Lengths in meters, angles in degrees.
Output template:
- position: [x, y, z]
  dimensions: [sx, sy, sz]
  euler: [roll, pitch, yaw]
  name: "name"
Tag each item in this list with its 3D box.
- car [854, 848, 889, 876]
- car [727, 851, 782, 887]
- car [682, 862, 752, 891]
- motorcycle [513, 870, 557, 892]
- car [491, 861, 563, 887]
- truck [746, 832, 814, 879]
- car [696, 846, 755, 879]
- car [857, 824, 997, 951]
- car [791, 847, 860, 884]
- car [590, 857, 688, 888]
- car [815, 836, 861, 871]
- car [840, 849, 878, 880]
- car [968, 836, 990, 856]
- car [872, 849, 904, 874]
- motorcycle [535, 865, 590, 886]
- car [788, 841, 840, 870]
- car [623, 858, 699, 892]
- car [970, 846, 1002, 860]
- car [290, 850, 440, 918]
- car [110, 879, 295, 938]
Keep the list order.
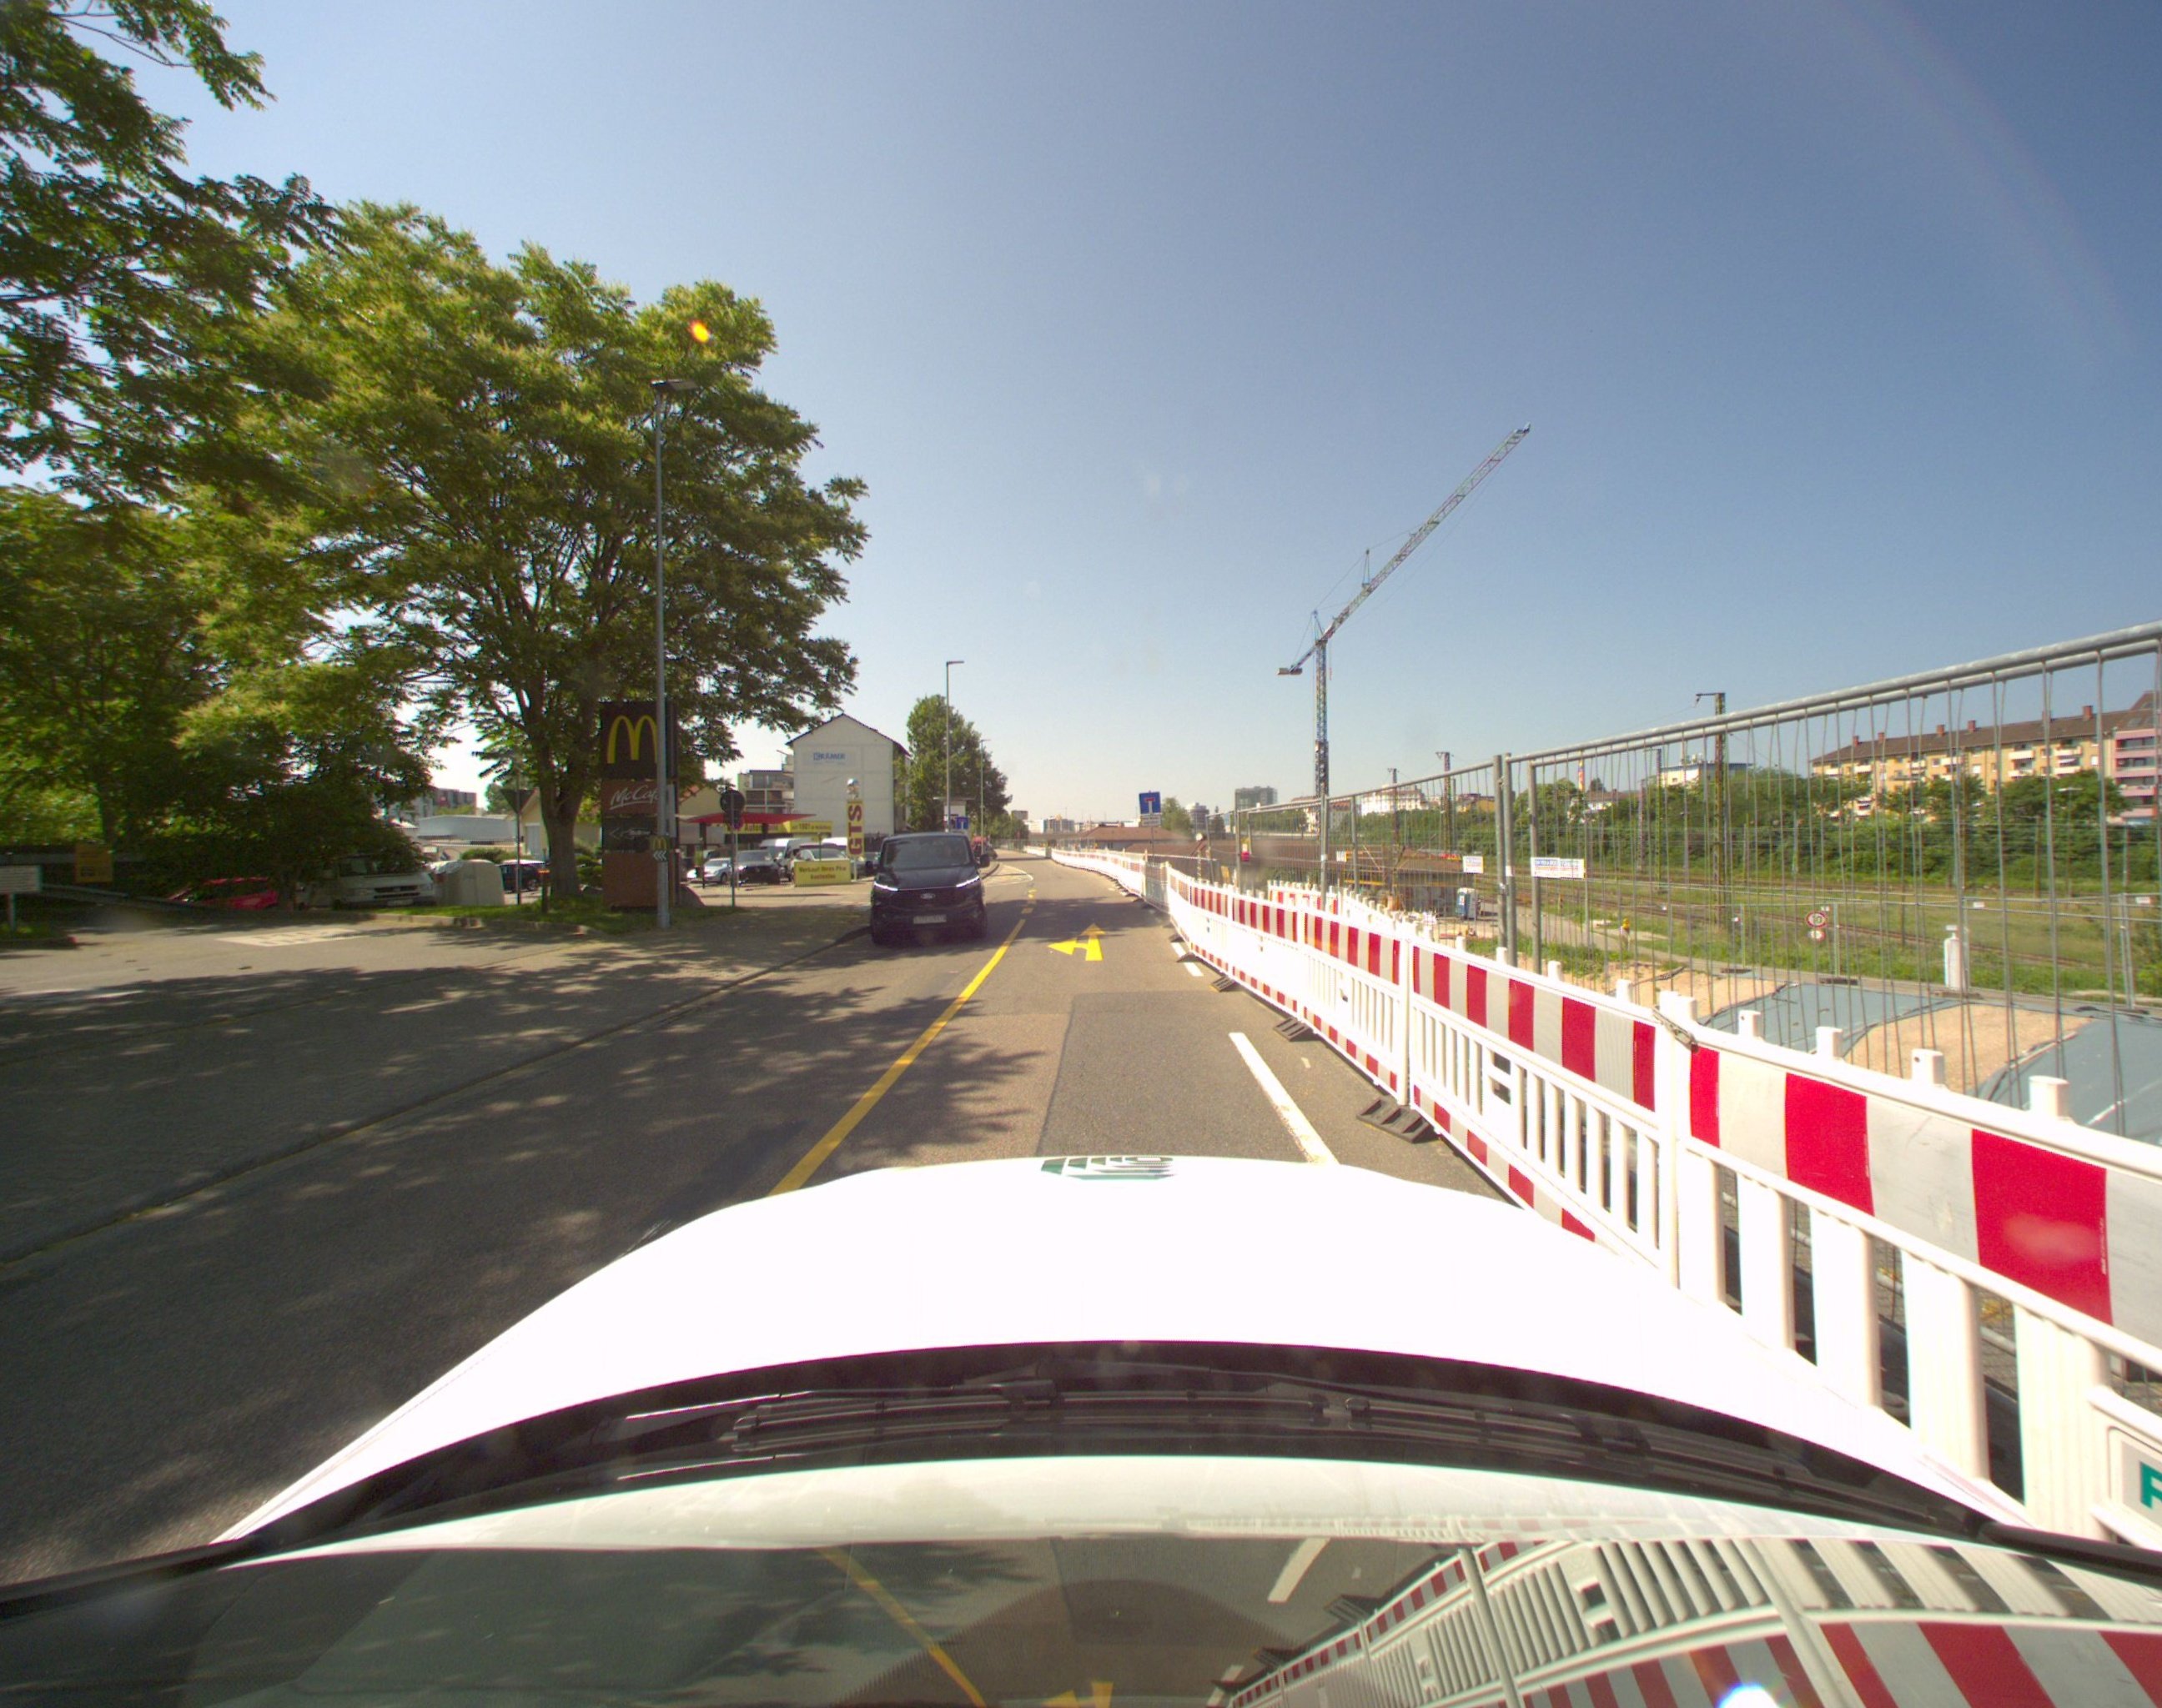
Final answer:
- position: [-13.051, 0.467, 50.651]
  dimensions: [1.862, 1.629, 3.976]
  euler: [-1, 0, -18]
  name: "car"
- position: [-15.420, 0.678, 38.326]
  dimensions: [2.057, 1.594, 4.385]
  euler: [0, 0, -26]
  name: "car"
- position: [-19.818, 1.196, 44.535]
  dimensions: [1.780, 1.487, 4.005]
  euler: [0, 0, 5]
  name: "car"
- position: [-30.369, 1.506, 45.323]
  dimensions: [0.779, 1.158, 1.886]
  euler: [-1, 0, 37]
  name: "motorcycle"
- position: [-34.437, 1.230, 50.635]
  dimensions: [3.950, 1.585, 2.012]
  euler: [0, 0, 27]
  name: "car"
- position: [-19.652, 0.107, 53.529]
  dimensions: [2.262, 2.903, 5.941]
  euler: [0, 0, -1]
  name: "truck"
- position: [-22.921, 0.544, 52.706]
  dimensions: [1.989, 2.014, 4.490]
  euler: [0, 0, -3]
  name: "car"
- position: [-2.889, 0.502, 16.186]
  dimensions: [2.175, 1.967, 5.431]
  euler: [-3, 1, -7]
  name: "car"
- position: [-12.630, 0.565, 40.156]
  dimensions: [2.010, 1.725, 3.954]
  euler: [0, 0, -38]
  name: "car"
- position: [-23.942, 0.960, 44.224]
  dimensions: [4.358, 1.585, 1.976]
  euler: [0, 0, -42]
  name: "car"
- position: [-16.987, -0.057, 57.184]
  dimensions: [2.132, 2.284, 4.703]
  euler: [-1, 0, -5]
  name: "car"
- position: [-12.376, 0.538, 45.215]
  dimensions: [1.862, 1.629, 3.976]
  euler: [-1, 0, -18]
  name: "car"
- position: [-13.448, -1.025, 107.930]
  dimensions: [2.532, 2.520, 5.112]
  euler: [0, 0, -3]
  name: "car"
- position: [-13.369, 0.492, 56.238]
  dimensions: [1.862, 1.629, 3.976]
  euler: [-1, 0, -18]
  name: "car"
- position: [-31.030, 1.278, 48.785]
  dimensions: [0.988, 1.227, 2.731]
  euler: [0, 0, 18]
  name: "motorcycle"
- position: [-16.670, 0.083, 51.154]
  dimensions: [1.872, 1.738, 4.718]
  euler: [0, 0, -2]
  name: "car"
- position: [-19.924, 0.957, 38.803]
  dimensions: [1.785, 1.510, 3.993]
  euler: [0, 0, -5]
  name: "car"
- position: [-10.981, -0.109, 94.117]
  dimensions: [3.300, 1.637, 1.705]
  euler: [0, -1, -45]
  name: "car"
- position: [-19.036, 0.708, 21.583]
  dimensions: [4.966, 1.583, 1.970]
  euler: [1, 0, 36]
  name: "car"
- position: [-26.023, 1.553, 24.246]
  dimensions: [1.468, 1.378, 3.436]
  euler: [1, 2, 27]
  name: "car"
